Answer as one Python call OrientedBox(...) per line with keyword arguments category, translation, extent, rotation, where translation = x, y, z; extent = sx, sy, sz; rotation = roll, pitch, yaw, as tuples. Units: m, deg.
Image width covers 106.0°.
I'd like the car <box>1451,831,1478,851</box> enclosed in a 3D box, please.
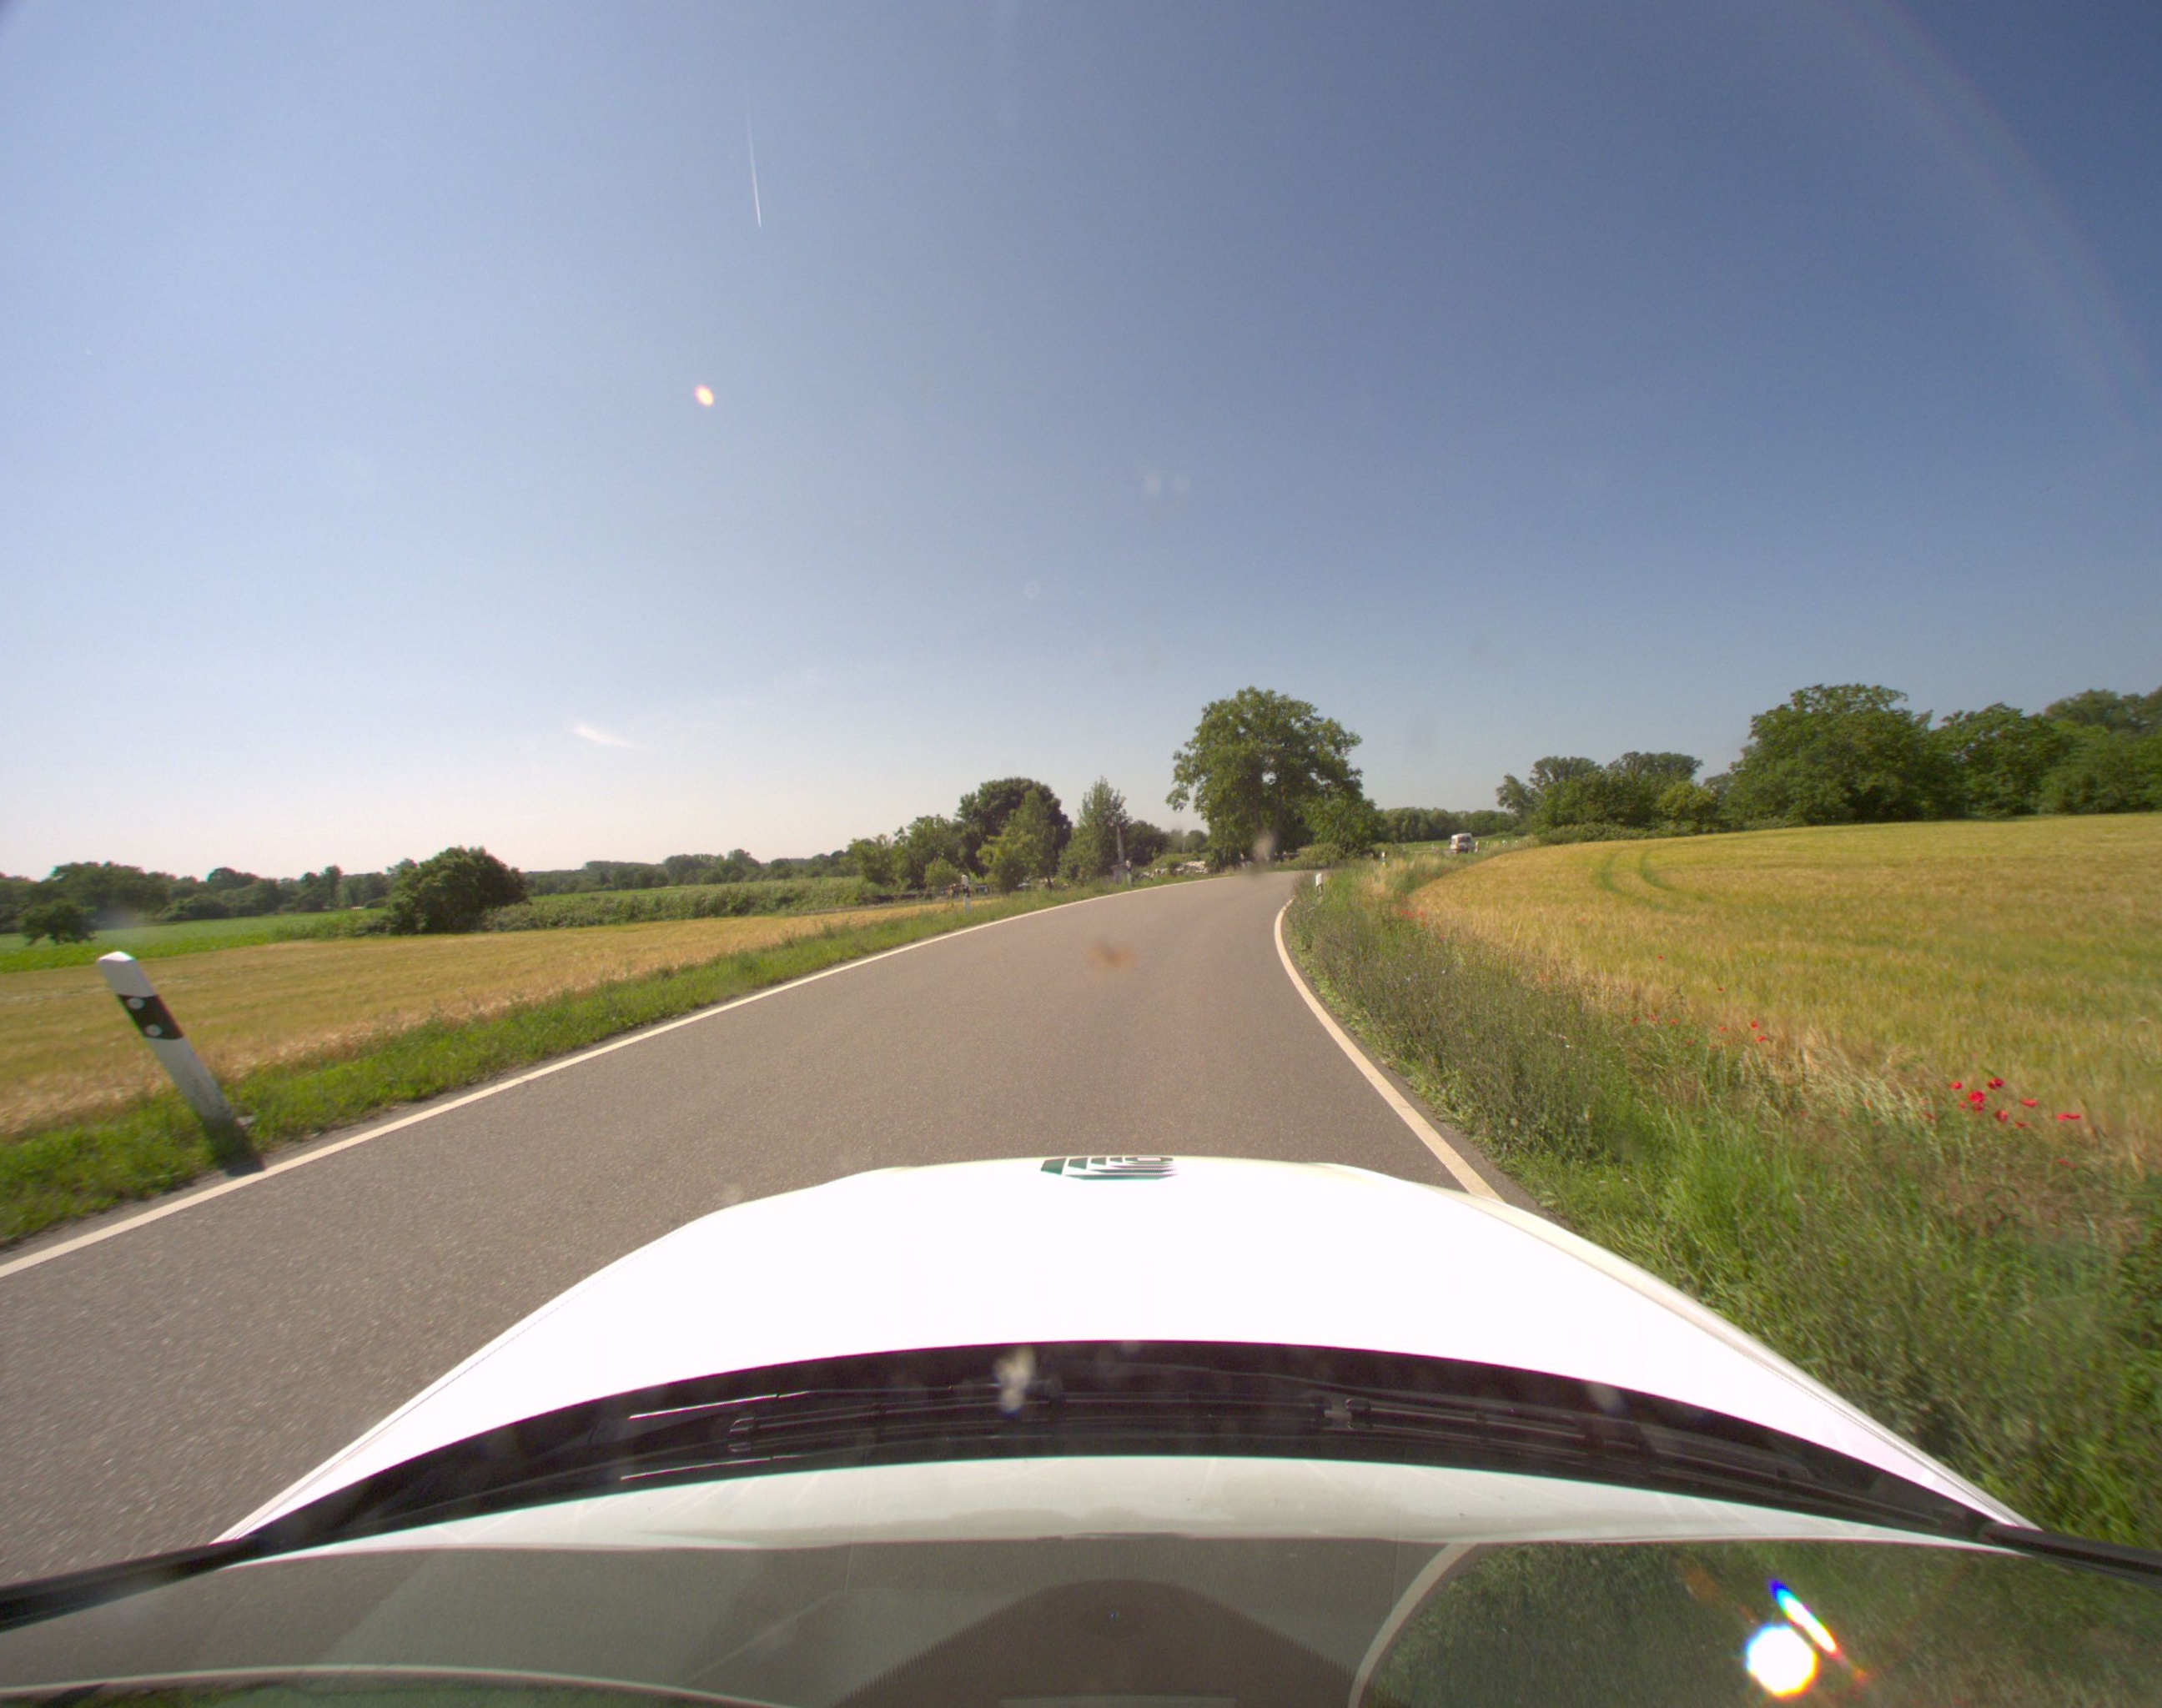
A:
OrientedBox(category="car", translation=(48.270, -1.650, 102.664), extent=(2.088, 2.367, 5.712), rotation=(-4, 0, 17))
